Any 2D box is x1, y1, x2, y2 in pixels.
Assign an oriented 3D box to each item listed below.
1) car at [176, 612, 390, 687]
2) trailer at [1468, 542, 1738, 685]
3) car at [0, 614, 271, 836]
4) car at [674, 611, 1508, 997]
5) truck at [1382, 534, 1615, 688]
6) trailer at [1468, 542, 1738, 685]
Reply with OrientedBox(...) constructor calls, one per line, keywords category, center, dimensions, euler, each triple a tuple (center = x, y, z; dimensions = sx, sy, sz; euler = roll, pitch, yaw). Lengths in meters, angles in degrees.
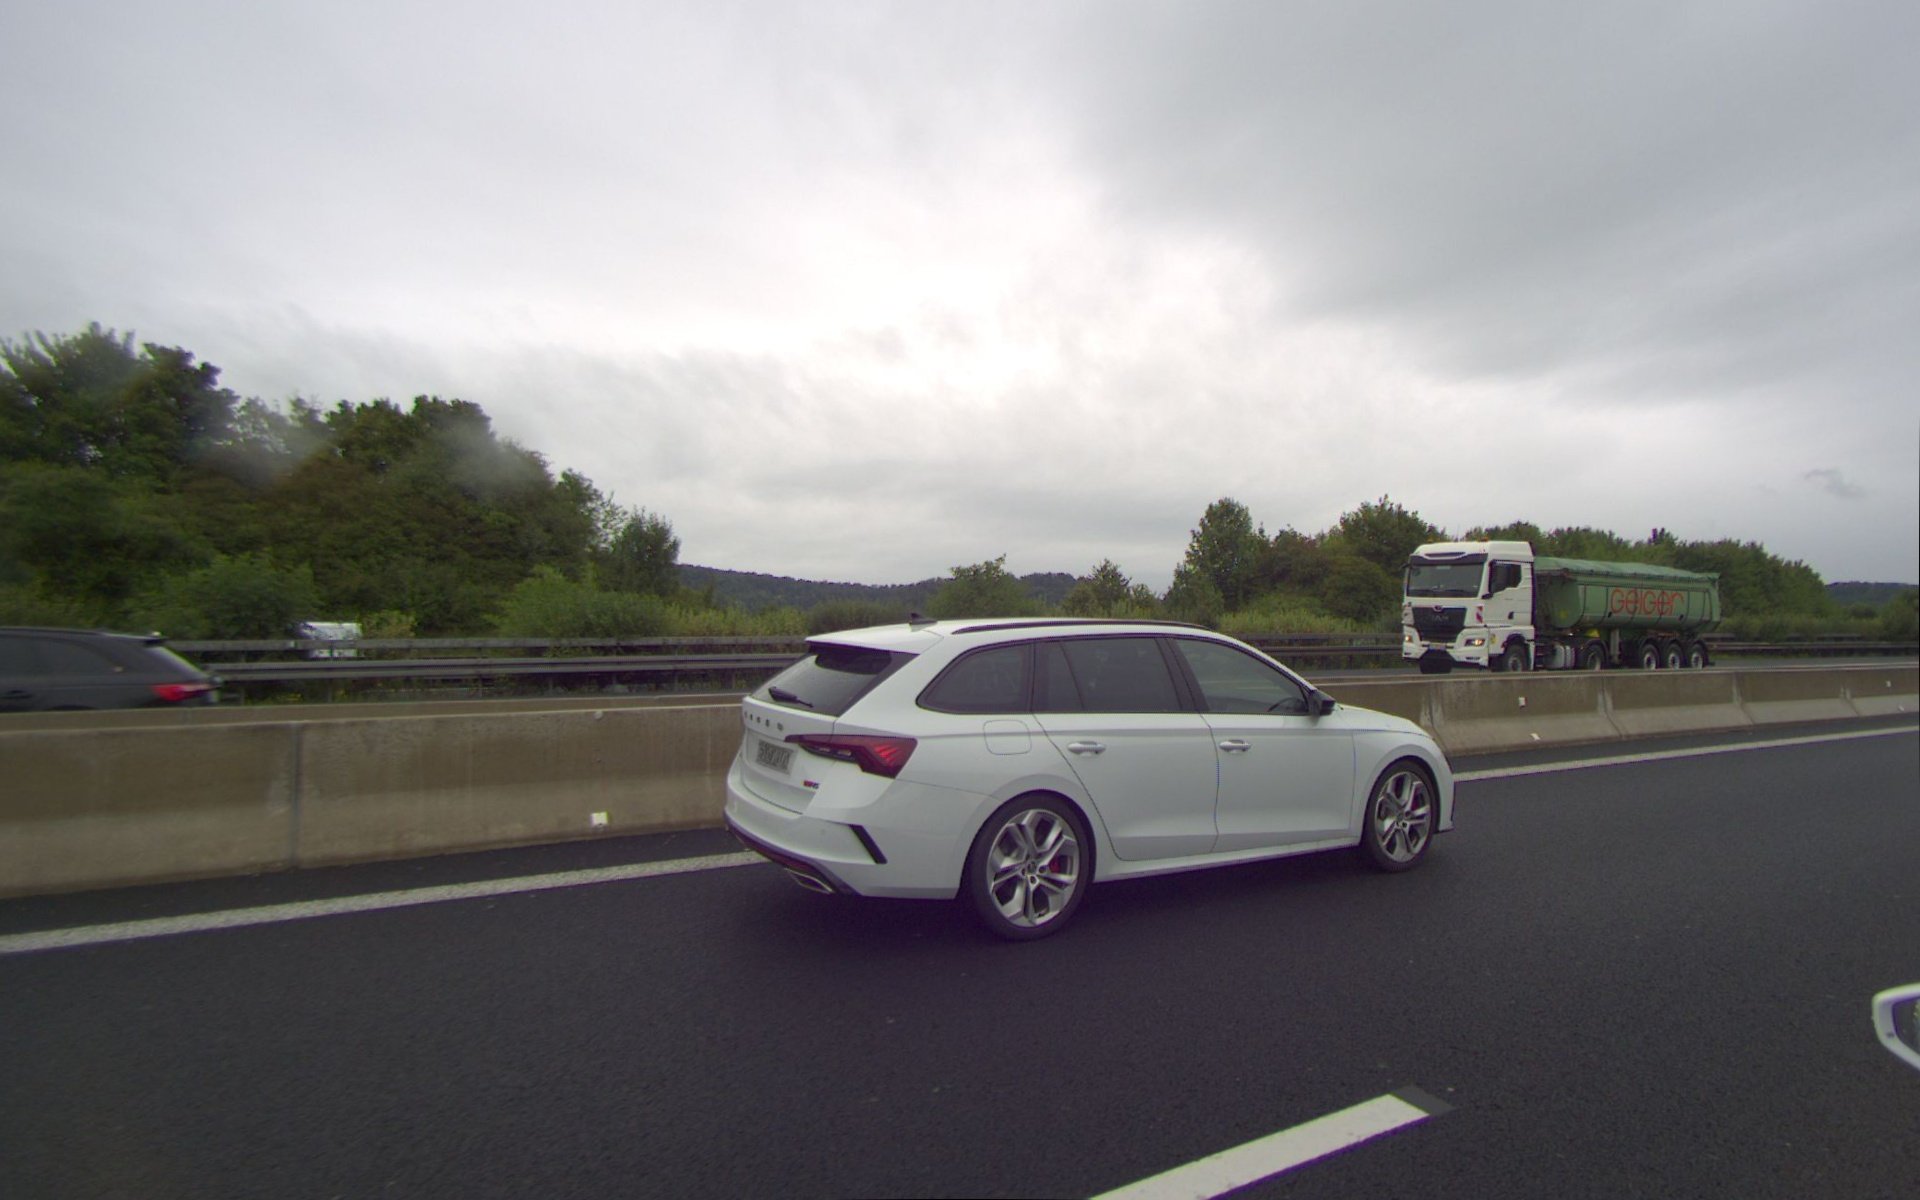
OrientedBox(category="car", center=(-17.224, 1.243, 25.853), dimensions=(4.357, 1.810, 1.794), euler=(1, -2, -29))
OrientedBox(category="trailer", center=(19.254, 0.485, 29.911), dimensions=(8.817, 3.798, 2.891), euler=(2, -1, -28))
OrientedBox(category="car", center=(-9.153, 1.073, 9.174), dimensions=(4.487, 1.900, 1.887), euler=(2, -1, -29))
OrientedBox(category="car", center=(0.945, 0.850, 5.849), dimensions=(4.722, 1.475, 1.810), euler=(2, -1, -31))
OrientedBox(category="truck", center=(14.731, 0.355, 27.441), dimensions=(5.871, 3.798, 2.875), euler=(2, -1, -28))
OrientedBox(category="trailer", center=(19.254, 0.485, 29.911), dimensions=(8.817, 3.798, 2.891), euler=(2, -1, -28))
